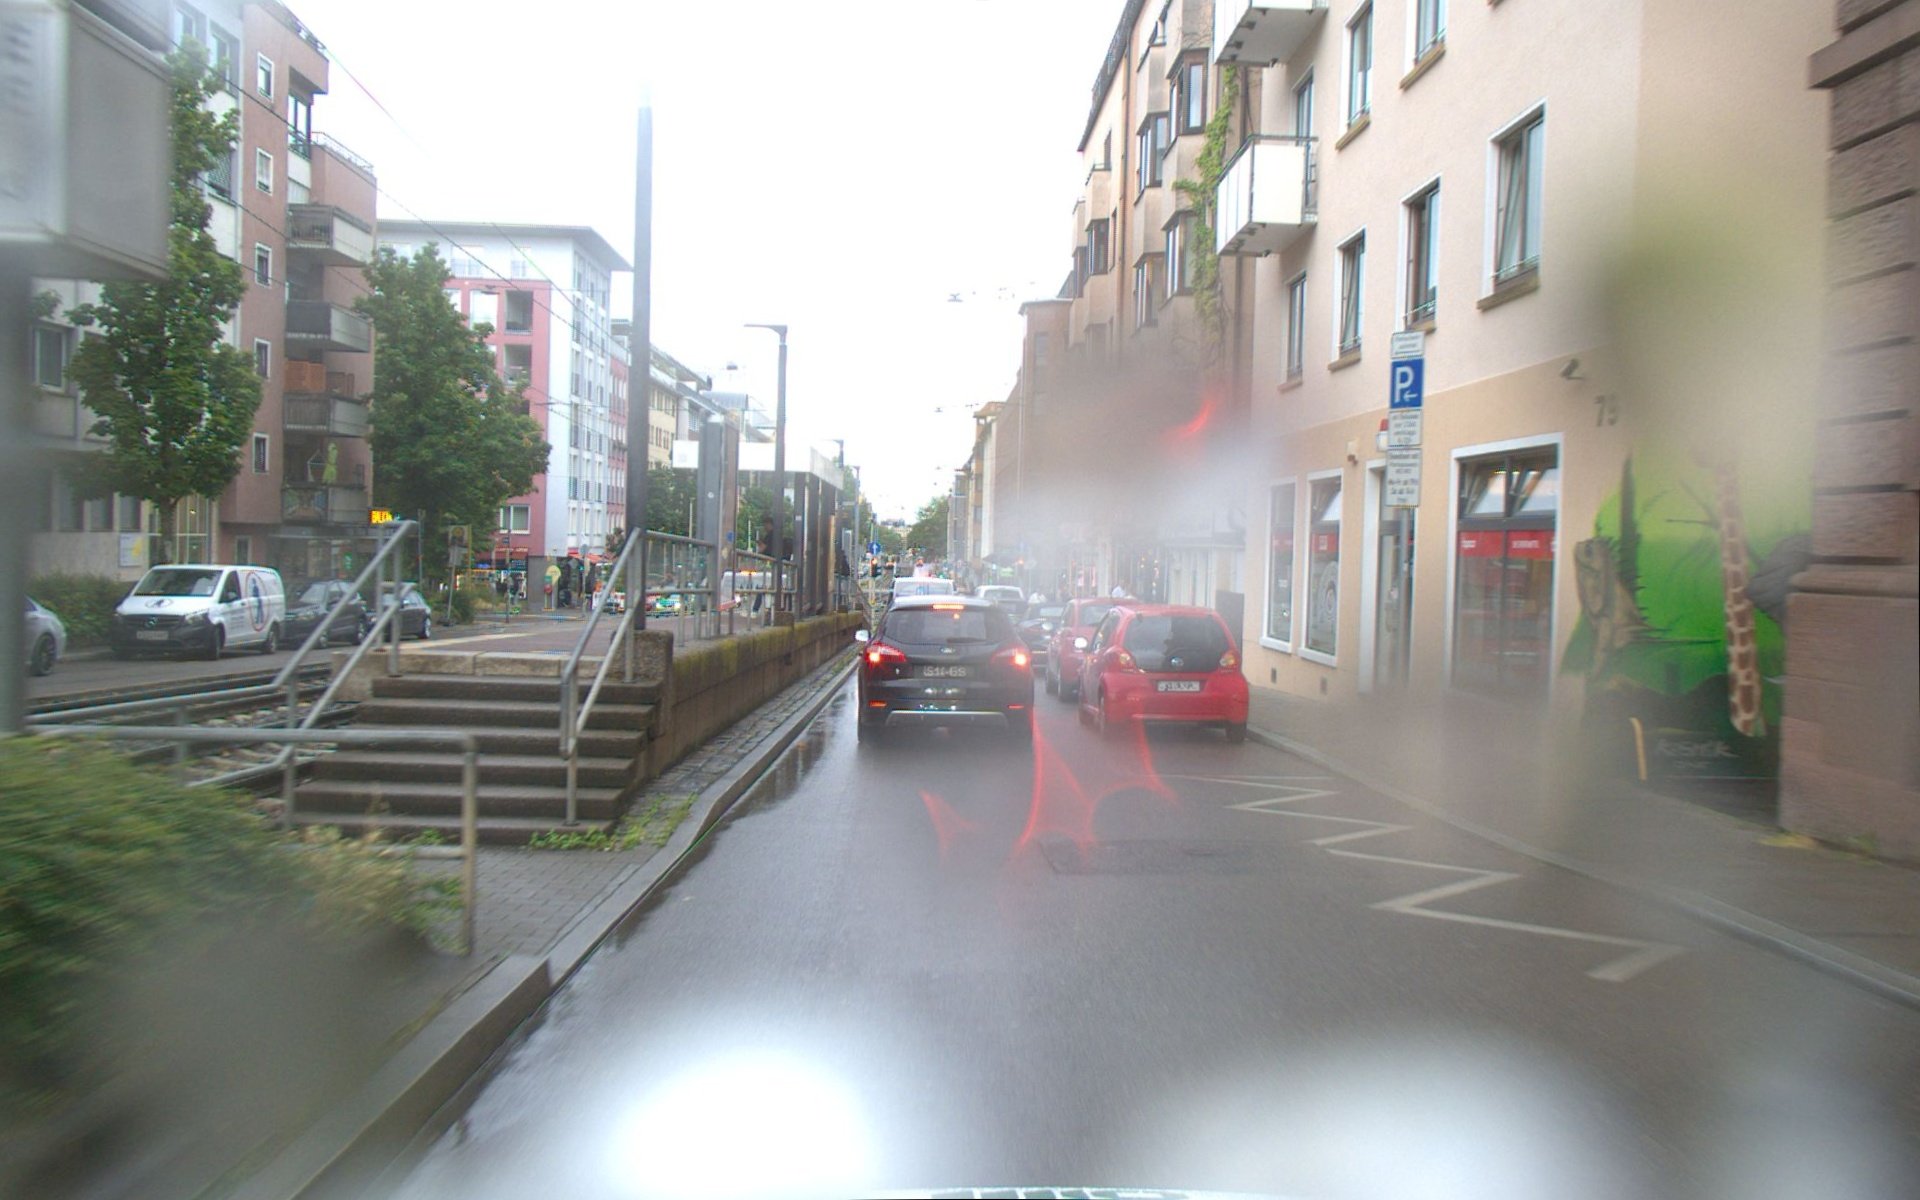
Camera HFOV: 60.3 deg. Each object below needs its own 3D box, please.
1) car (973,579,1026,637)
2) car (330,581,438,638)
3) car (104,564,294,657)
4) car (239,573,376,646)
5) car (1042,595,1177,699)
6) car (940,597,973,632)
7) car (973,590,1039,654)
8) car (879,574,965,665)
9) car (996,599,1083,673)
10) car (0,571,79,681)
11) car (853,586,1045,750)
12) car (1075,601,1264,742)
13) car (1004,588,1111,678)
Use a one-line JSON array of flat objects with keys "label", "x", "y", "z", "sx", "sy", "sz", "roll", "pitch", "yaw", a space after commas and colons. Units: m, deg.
[{"label": "car", "x": 1.320, "y": 0.306, "z": 56.407, "sx": 1.559, "sy": 1.812, "sz": 3.777, "roll": 4, "pitch": -2, "yaw": -1}, {"label": "car", "x": -15.557, "y": 0.297, "z": 44.833, "sx": 1.519, "sy": 1.419, "sz": 4.045, "roll": 2, "pitch": -1, "yaw": -1}, {"label": "car", "x": -15.197, "y": 0.242, "z": 33.354, "sx": 1.819, "sy": 1.665, "sz": 4.930, "roll": 2, "pitch": -1, "yaw": -5}, {"label": "car", "x": -15.437, "y": 0.257, "z": 39.366, "sx": 1.660, "sy": 1.601, "sz": 4.045, "roll": 2, "pitch": -1, "yaw": -1}, {"label": "car", "x": 2.198, "y": 0.664, "z": 25.076, "sx": 1.637, "sy": 1.446, "sz": 3.475, "roll": 1, "pitch": 0, "yaw": -2}, {"label": "car", "x": -0.230, "y": 0.931, "z": 106.604, "sx": 1.953, "sy": 2.049, "sz": 3.999, "roll": 4, "pitch": -2, "yaw": -1}, {"label": "car", "x": 1.390, "y": 0.718, "z": 51.599, "sx": 1.802, "sy": 1.812, "sz": 3.777, "roll": 4, "pitch": -2, "yaw": -1}, {"label": "car", "x": -1.004, "y": 0.443, "z": 41.252, "sx": 1.949, "sy": 2.096, "sz": 4.642, "roll": 1, "pitch": 1, "yaw": -3}, {"label": "car", "x": 1.898, "y": 0.885, "z": 40.447, "sx": 1.820, "sy": 1.613, "sz": 3.777, "roll": 4, "pitch": -2, "yaw": -1}, {"label": "car", "x": -14.698, "y": 0.354, "z": 24.017, "sx": 1.634, "sy": 1.585, "sz": 4.045, "roll": 2, "pitch": -1, "yaw": -1}, {"label": "car", "x": -0.211, "y": 0.660, "z": 17.672, "sx": 1.806, "sy": 1.533, "sz": 3.997, "roll": 1, "pitch": 0, "yaw": -3}, {"label": "car", "x": 2.309, "y": 0.749, "z": 18.996, "sx": 1.637, "sy": 1.446, "sz": 3.475, "roll": 1, "pitch": 0, "yaw": -2}, {"label": "car", "x": 1.921, "y": 0.693, "z": 33.732, "sx": 1.820, "sy": 1.613, "sz": 3.777, "roll": 4, "pitch": -2, "yaw": -1}]
